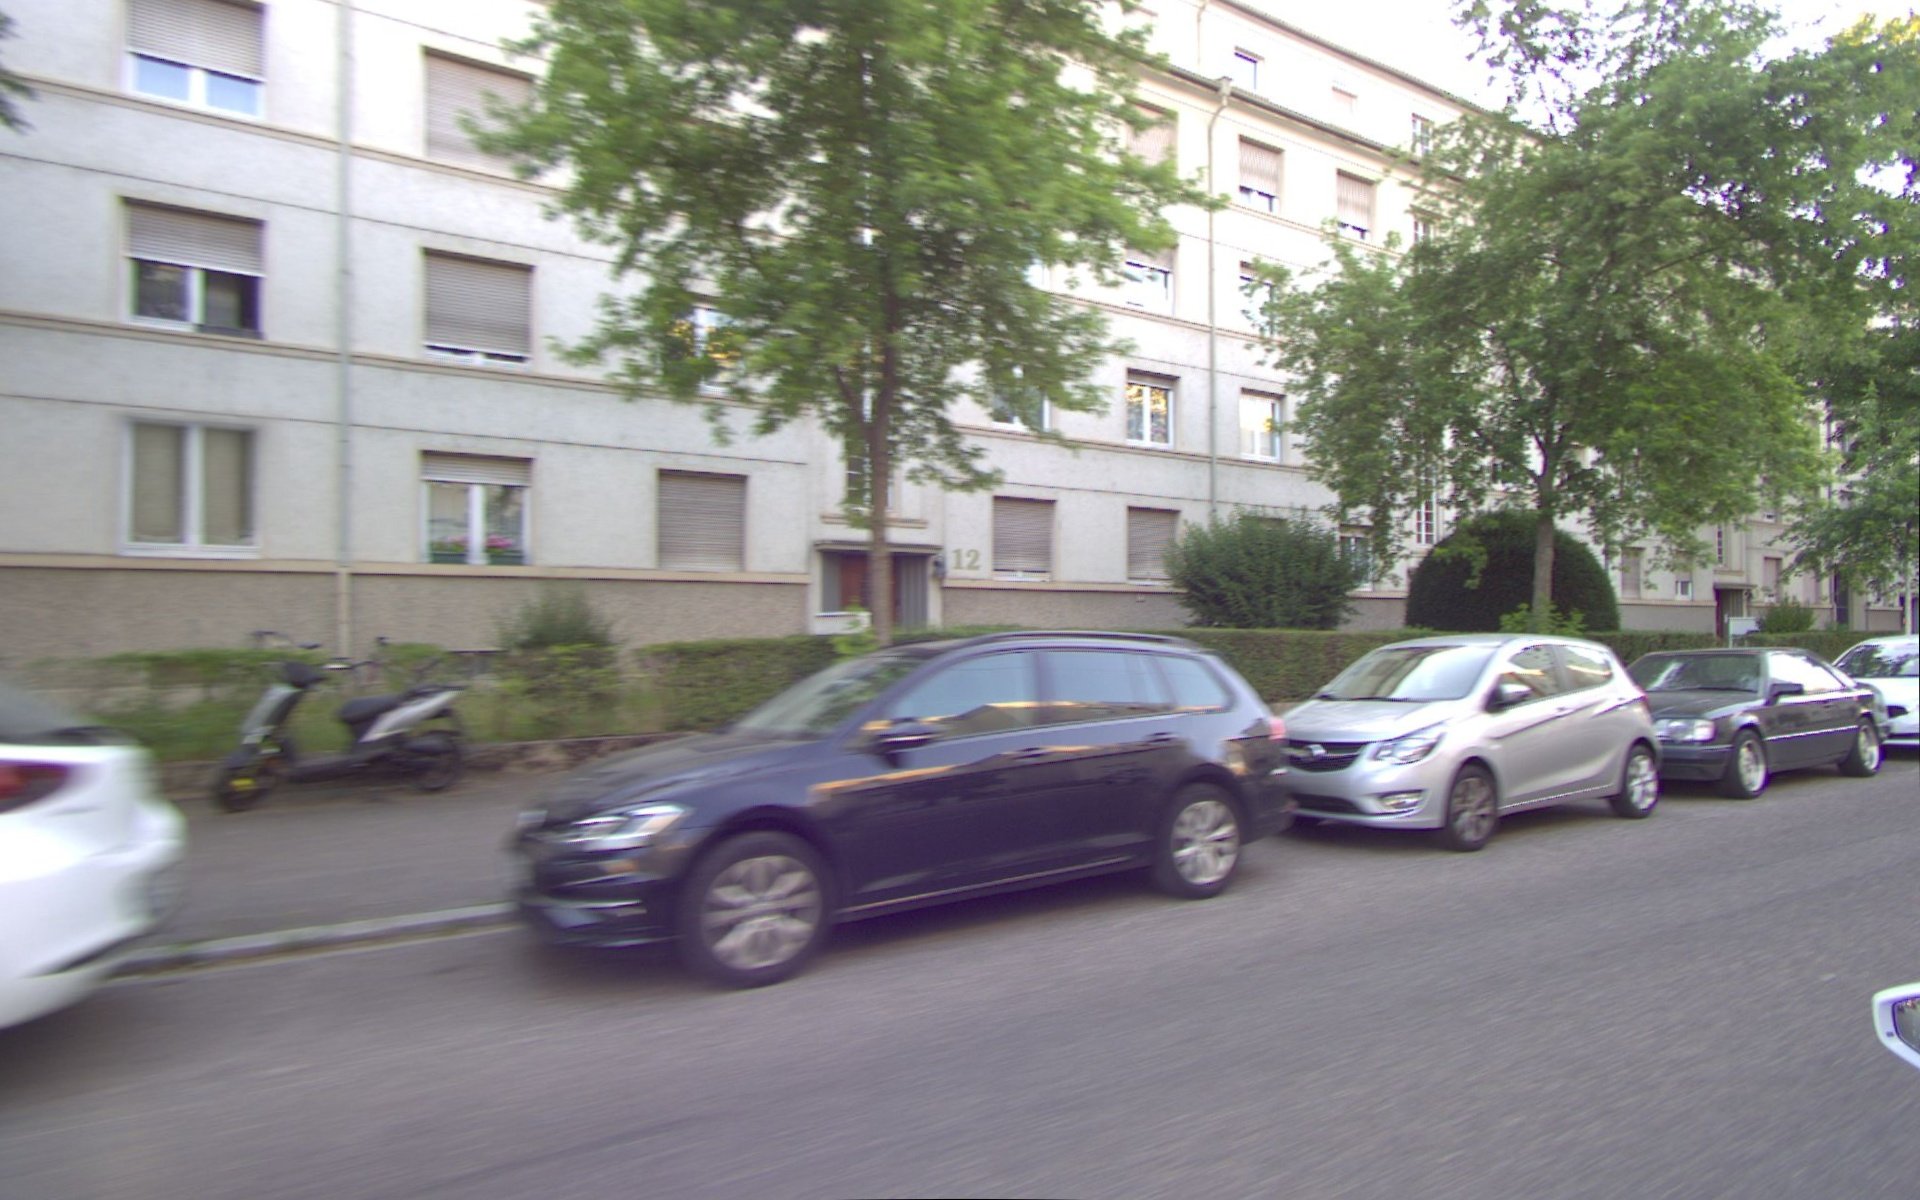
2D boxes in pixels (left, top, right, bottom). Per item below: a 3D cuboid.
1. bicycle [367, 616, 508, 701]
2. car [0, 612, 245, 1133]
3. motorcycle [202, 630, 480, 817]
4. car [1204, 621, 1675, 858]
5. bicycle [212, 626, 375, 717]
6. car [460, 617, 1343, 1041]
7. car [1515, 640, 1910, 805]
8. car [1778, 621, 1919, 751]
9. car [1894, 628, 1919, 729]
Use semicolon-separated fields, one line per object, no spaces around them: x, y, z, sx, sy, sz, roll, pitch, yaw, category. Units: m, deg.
-7.648;0.835;14.771;1.794;1.187;0.554;1;-1;-28;bicycle
-4.596;0.837;2.907;3.896;1.498;1.746;0;-4;-29;car
-4.835;0.910;7.974;1.807;1.342;0.583;1;-1;-30;motorcycle
3.870;0.954;7.986;3.665;1.478;1.666;1;-5;-33;car
-9.110;0.950;13.810;1.794;1.187;0.554;1;-1;-28;bicycle
-0.125;0.903;5.575;4.627;1.498;1.744;1;-4;-32;car
7.884;1.142;10.411;4.528;1.349;1.666;1;-4;-31;car
12.464;1.042;12.965;4.099;1.478;1.684;1;-4;-32;car
16.287;1.136;15.378;4.431;1.478;1.685;1;-4;-31;car
